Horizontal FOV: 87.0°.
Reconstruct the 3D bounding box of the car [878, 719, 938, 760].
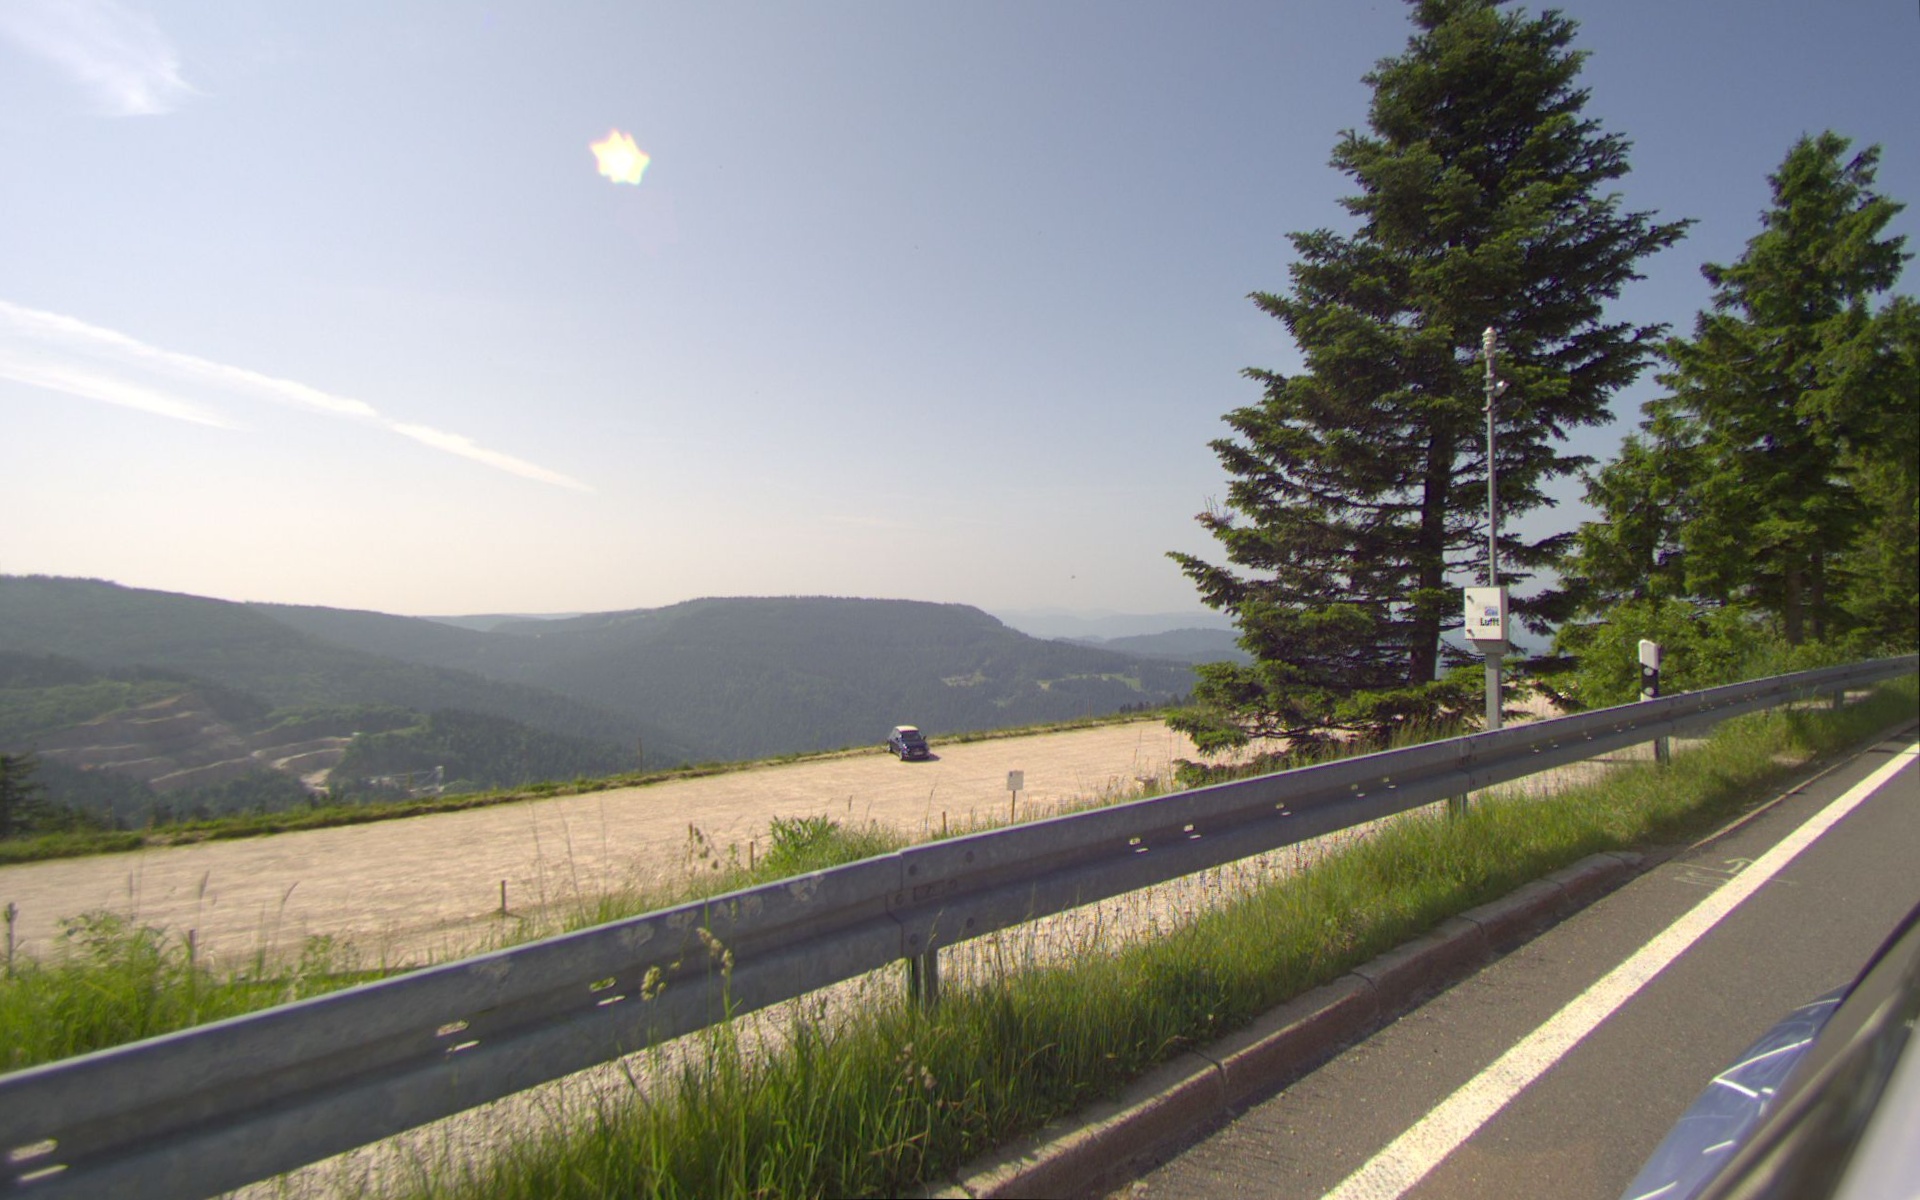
[{"bbox_3d":[-2.837,7.505,54.631,1.766,1.687,3.526,1,0,-32],"label":"car"}]
